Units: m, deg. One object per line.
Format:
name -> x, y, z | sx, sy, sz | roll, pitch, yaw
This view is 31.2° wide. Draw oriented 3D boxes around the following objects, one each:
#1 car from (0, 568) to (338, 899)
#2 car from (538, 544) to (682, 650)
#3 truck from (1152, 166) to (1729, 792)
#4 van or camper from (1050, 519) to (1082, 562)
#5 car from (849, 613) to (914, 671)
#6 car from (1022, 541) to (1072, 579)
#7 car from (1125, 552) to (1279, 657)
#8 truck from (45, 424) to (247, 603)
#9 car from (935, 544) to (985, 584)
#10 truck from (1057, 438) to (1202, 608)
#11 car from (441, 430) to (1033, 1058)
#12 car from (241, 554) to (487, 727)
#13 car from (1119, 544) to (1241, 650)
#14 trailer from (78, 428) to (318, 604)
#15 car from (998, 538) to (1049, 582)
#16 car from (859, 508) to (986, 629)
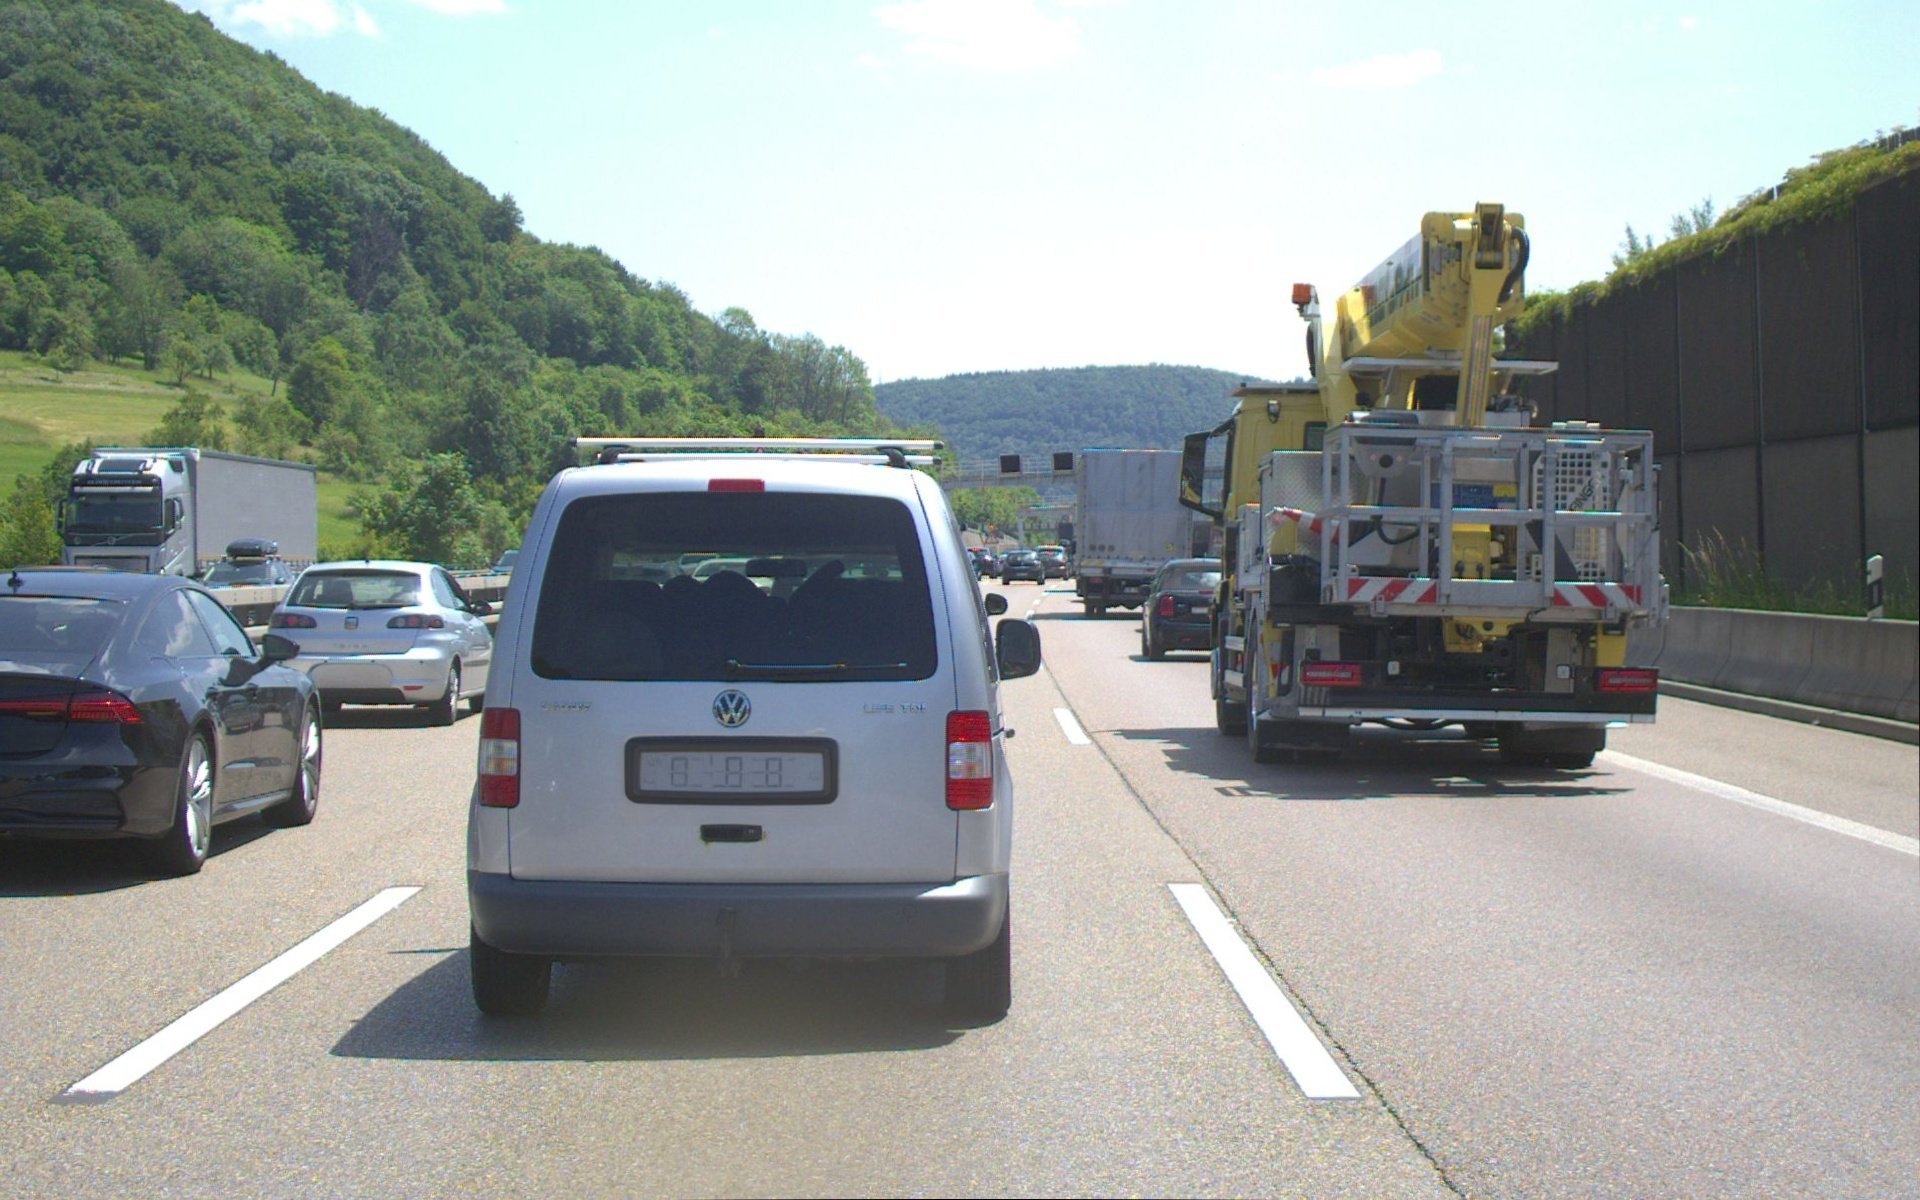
car -> -4.420, 0.551, 17.204 | 1.800, 1.385, 4.970 | 0, 1, -1
car -> -5.149, -0.078, 51.016 | 1.924, 1.494, 4.001 | 1, 1, -3
truck -> 3.272, -0.828, 26.004 | 2.703, 3.929, 8.723 | 0, 1, -3
van or camper -> 7.352, -4.127, 239.496 | 1.993, 2.943, 5.423 | 1, 0, 0
car -> -2.624, 1.397, 115.657 | 2.114, 1.821, 4.000 | 1, 0, 0
car -> 4.255, -1.968, 169.510 | 2.114, 1.821, 4.000 | 1, 0, -3
car -> 3.472, 0.031, 49.883 | 1.786, 1.453, 3.771 | 0, 1, -3
truck -> -19.588, -2.024, 83.186 | 3.278, 4.134, 6.955 | 0, 0, -1
car -> -0.015, -1.692, 163.203 | 2.114, 1.821, 4.000 | 1, 0, -3
truck -> 3.955, -1.774, 82.074 | 2.940, 3.810, 8.237 | 1, 0, 0
car -> -0.766, 0.396, 12.226 | 1.756, 1.861, 4.001 | 0, 1, -3
car -> -5.279, 0.312, 30.853 | 1.695, 1.440, 3.862 | 0, 1, -3
car -> 4.247, -0.087, 66.837 | 1.993, 2.007, 4.000 | 0, 1, -2
trailer -> -19.549, -2.055, 89.220 | 3.247, 4.190, 13.000 | 1, 0, 0
car -> 2.591, -1.647, 141.969 | 1.993, 1.743, 4.000 | 1, 0, 0
car -> -0.672, -0.549, 58.193 | 1.993, 1.969, 4.001 | 0, 1, -3
